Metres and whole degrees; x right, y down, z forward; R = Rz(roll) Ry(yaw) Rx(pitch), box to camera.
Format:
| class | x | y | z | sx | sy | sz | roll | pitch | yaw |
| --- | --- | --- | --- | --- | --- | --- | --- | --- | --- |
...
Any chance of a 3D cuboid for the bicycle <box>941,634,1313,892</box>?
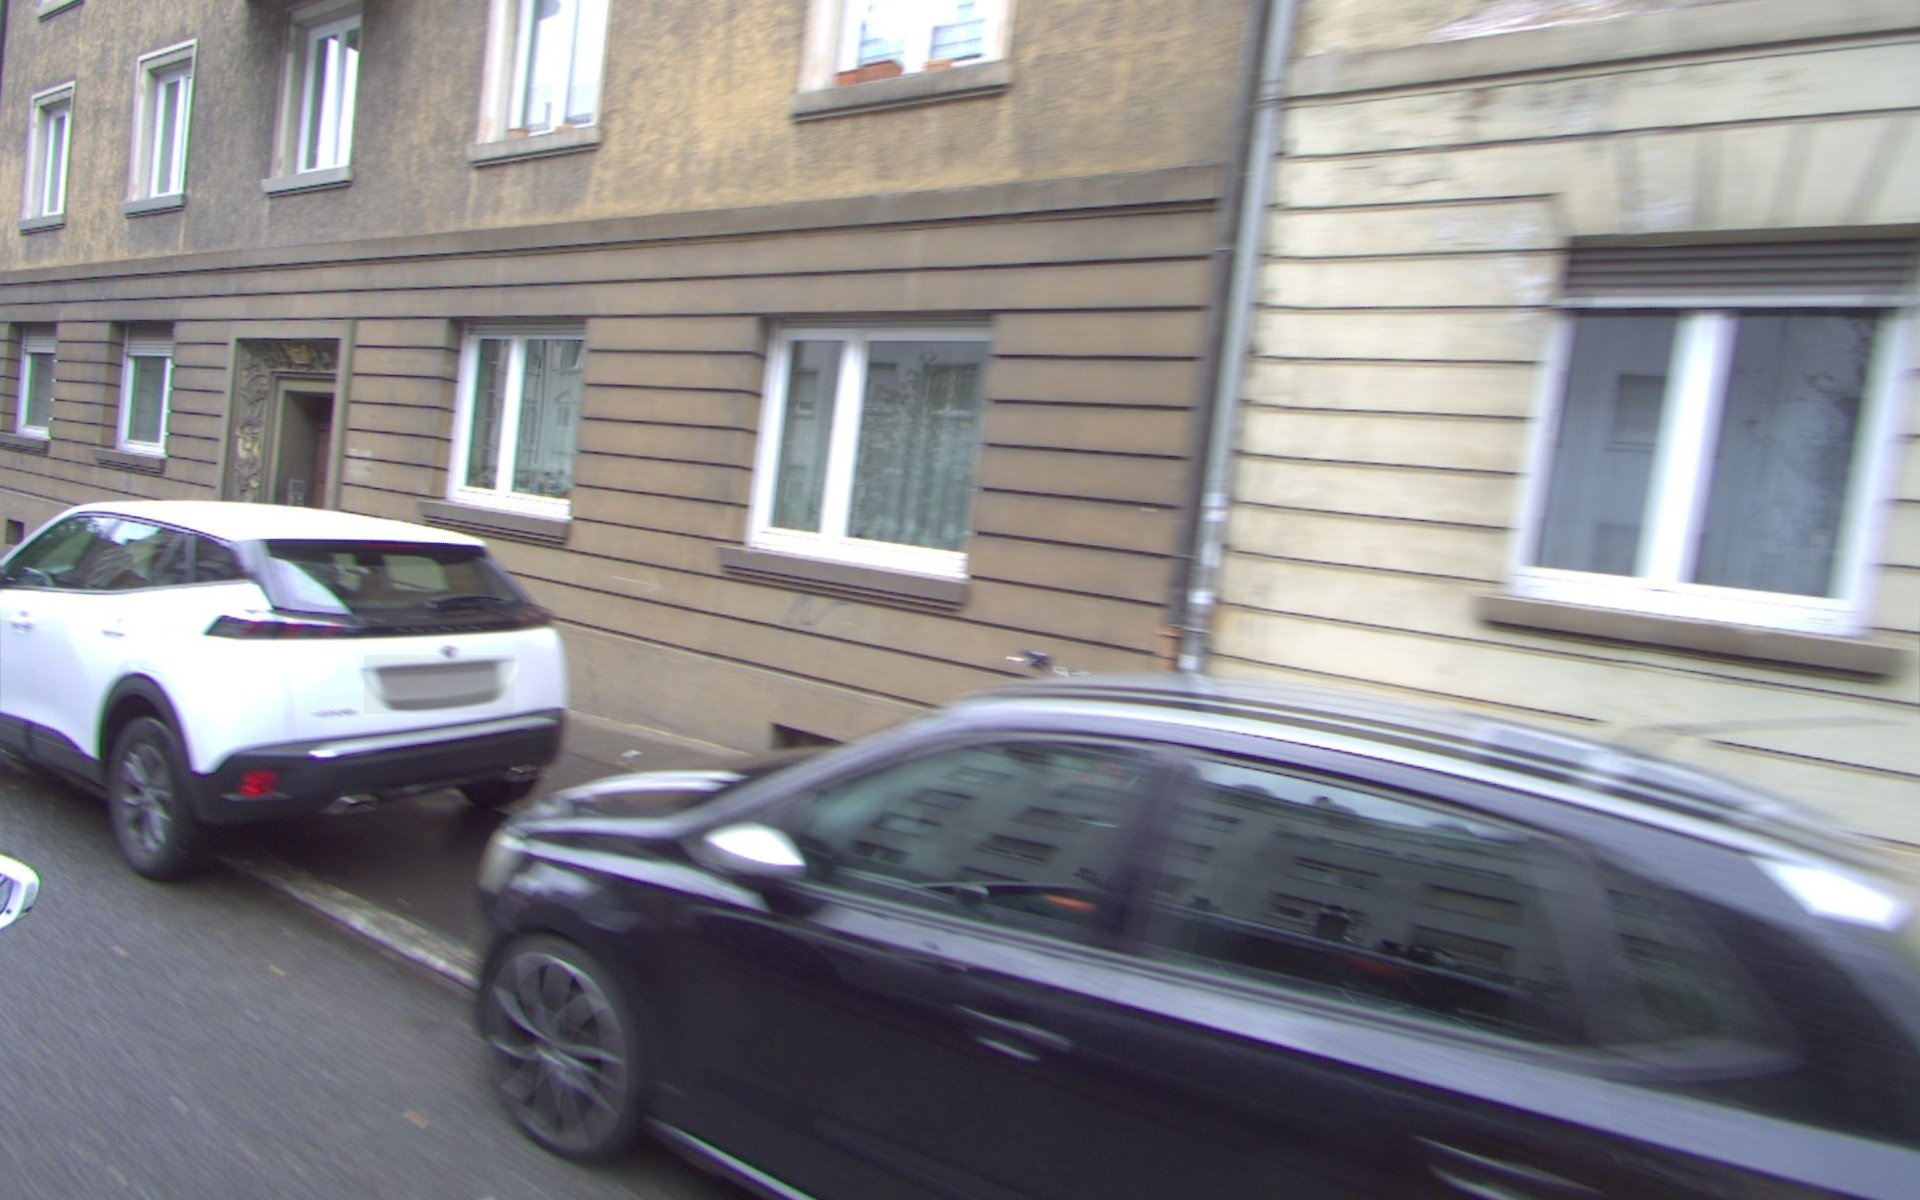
| class | x | y | z | sx | sy | sz | roll | pitch | yaw |
| --- | --- | --- | --- | --- | --- | --- | --- | --- | --- |
| bicycle | 0.860 | 0.847 | 5.725 | 2.071 | 1.088 | 0.247 | 6 | 4 | 32 |

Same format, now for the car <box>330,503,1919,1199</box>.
| class | x | y | z | sx | sy | sz | roll | pitch | yaw |
| --- | --- | --- | --- | --- | --- | --- | --- | --- | --- |
| car | 0.173 | 0.719 | 2.831 | 3.671 | 1.496 | 1.636 | 7 | -1 | 30 |

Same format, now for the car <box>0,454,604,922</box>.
| class | x | y | z | sx | sy | sz | roll | pitch | yaw |
| --- | --- | --- | --- | --- | --- | --- | --- | --- | --- |
| car | -4.027 | 0.152 | 5.419 | 4.123 | 1.661 | 1.631 | 7 | 4 | 30 |

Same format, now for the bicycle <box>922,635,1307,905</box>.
| class | x | y | z | sx | sy | sz | roll | pitch | yaw |
| --- | --- | --- | --- | --- | --- | --- | --- | --- | --- |
| bicycle | 0.753 | 0.845 | 5.499 | 2.071 | 1.088 | 0.247 | 6 | 4 | 32 |
